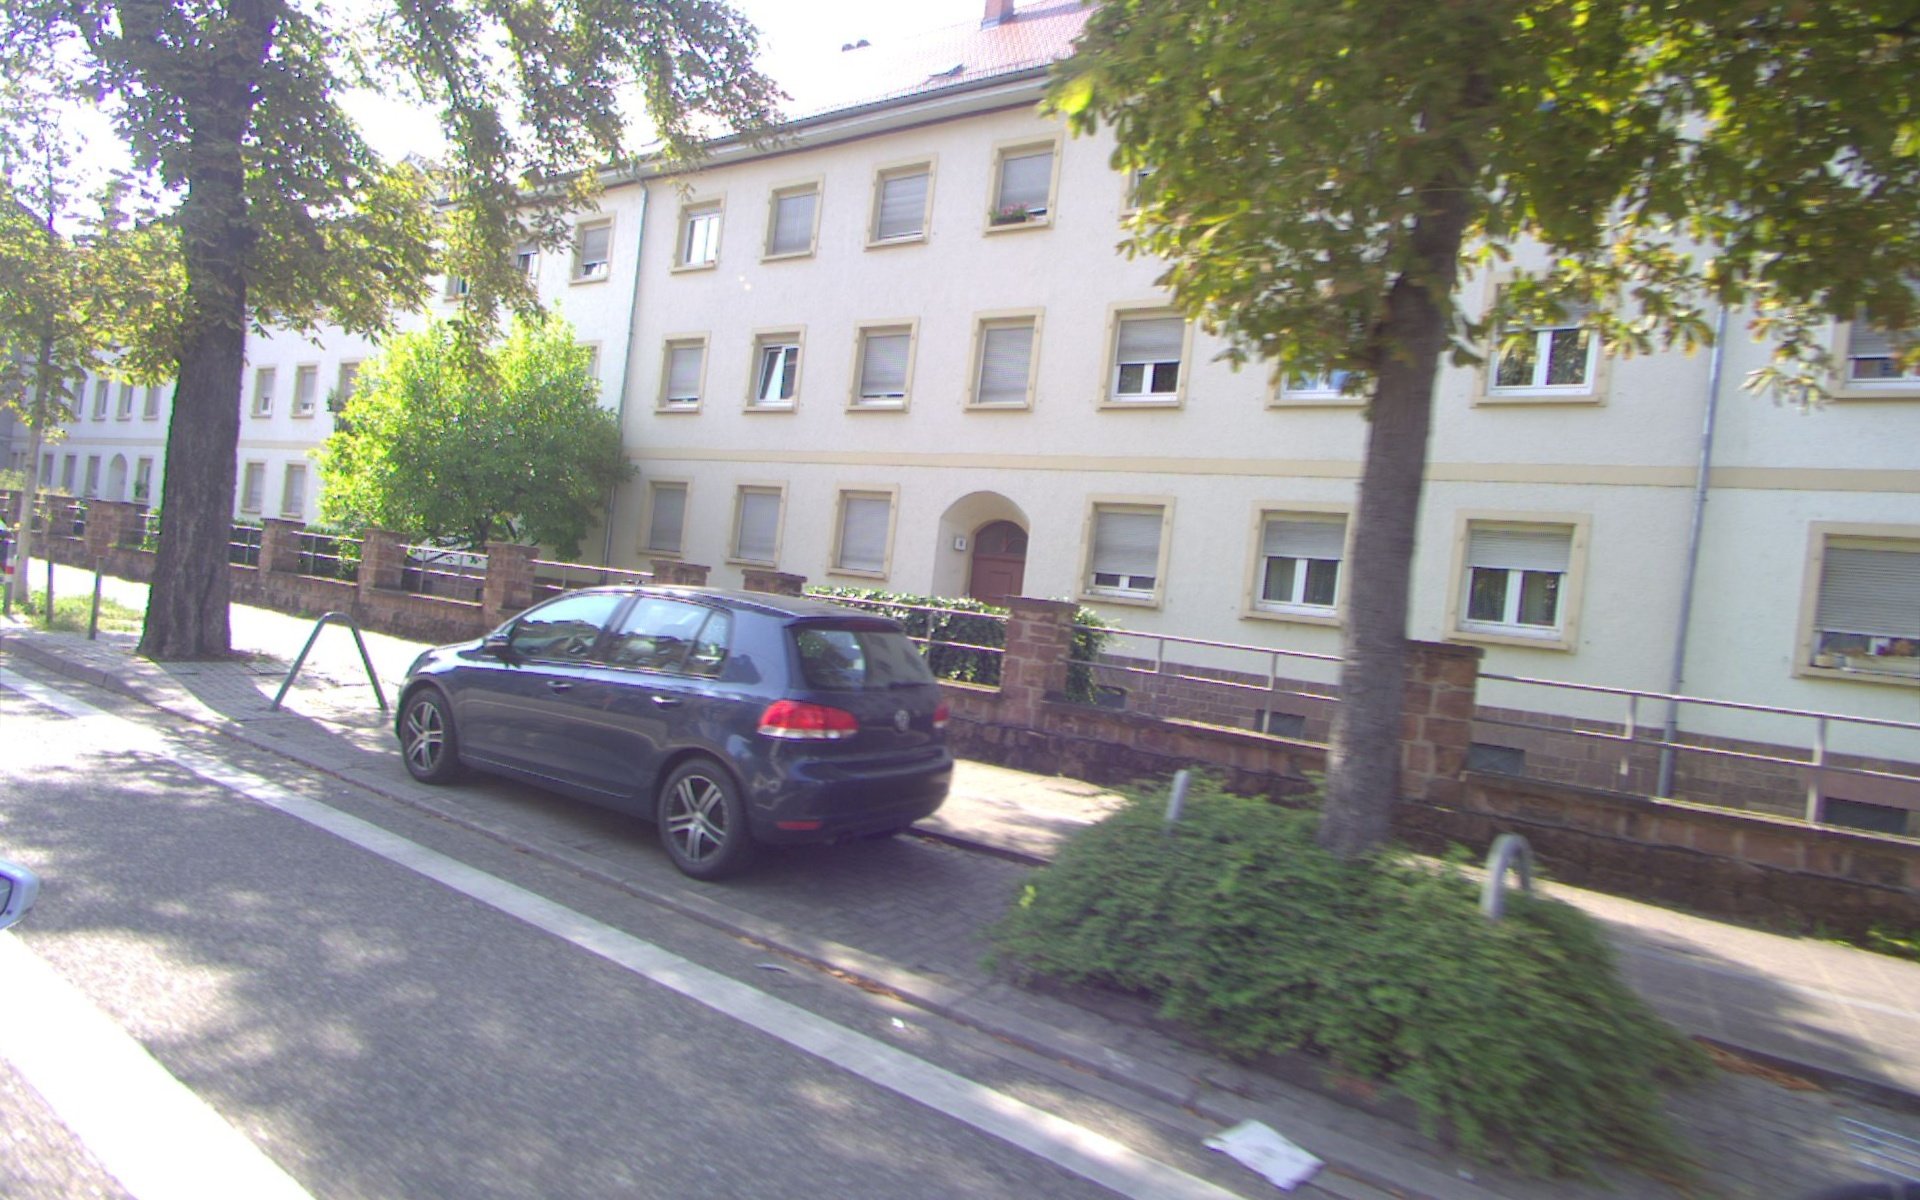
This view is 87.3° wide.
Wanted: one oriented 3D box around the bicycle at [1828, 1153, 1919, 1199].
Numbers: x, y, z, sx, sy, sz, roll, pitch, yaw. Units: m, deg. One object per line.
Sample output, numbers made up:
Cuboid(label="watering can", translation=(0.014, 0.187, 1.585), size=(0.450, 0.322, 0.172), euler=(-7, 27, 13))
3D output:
Cuboid(label="bicycle", translation=(1.579, 1.230, 0.670), size=(1.500, 0.919, 0.628), euler=(6, -2, 32))

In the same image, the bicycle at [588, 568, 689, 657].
Cuboid(label="bicycle", translation=(-4.477, 0.162, 13.980), size=(1.464, 1.073, 0.416), euler=(6, 0, 33))

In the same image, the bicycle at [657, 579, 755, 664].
Cuboid(label="bicycle", translation=(-3.748, 0.306, 14.812), size=(1.464, 1.073, 0.416), euler=(6, 0, 33))

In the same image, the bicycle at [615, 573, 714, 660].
Cuboid(label="bicycle", translation=(-4.224, 0.220, 14.354), size=(1.464, 1.073, 0.416), euler=(6, 0, 33))

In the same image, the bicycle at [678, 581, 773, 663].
Cuboid(label="bicycle", translation=(-3.561, 0.331, 15.240), size=(1.464, 1.073, 0.416), euler=(6, 0, 33))

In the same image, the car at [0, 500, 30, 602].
Cuboid(label="car", translation=(-17.288, -1.028, 16.592), size=(4.643, 1.580, 1.745), euler=(6, 0, 34))

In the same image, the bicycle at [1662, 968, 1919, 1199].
Cuboid(label="bicycle", translation=(2.219, 1.366, 1.611), size=(1.746, 0.919, 0.656), euler=(6, -2, 32))

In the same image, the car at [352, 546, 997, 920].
Cuboid(label="car", translation=(-1.975, 0.606, 6.509), size=(4.029, 1.522, 1.690), euler=(6, 1, 33))
